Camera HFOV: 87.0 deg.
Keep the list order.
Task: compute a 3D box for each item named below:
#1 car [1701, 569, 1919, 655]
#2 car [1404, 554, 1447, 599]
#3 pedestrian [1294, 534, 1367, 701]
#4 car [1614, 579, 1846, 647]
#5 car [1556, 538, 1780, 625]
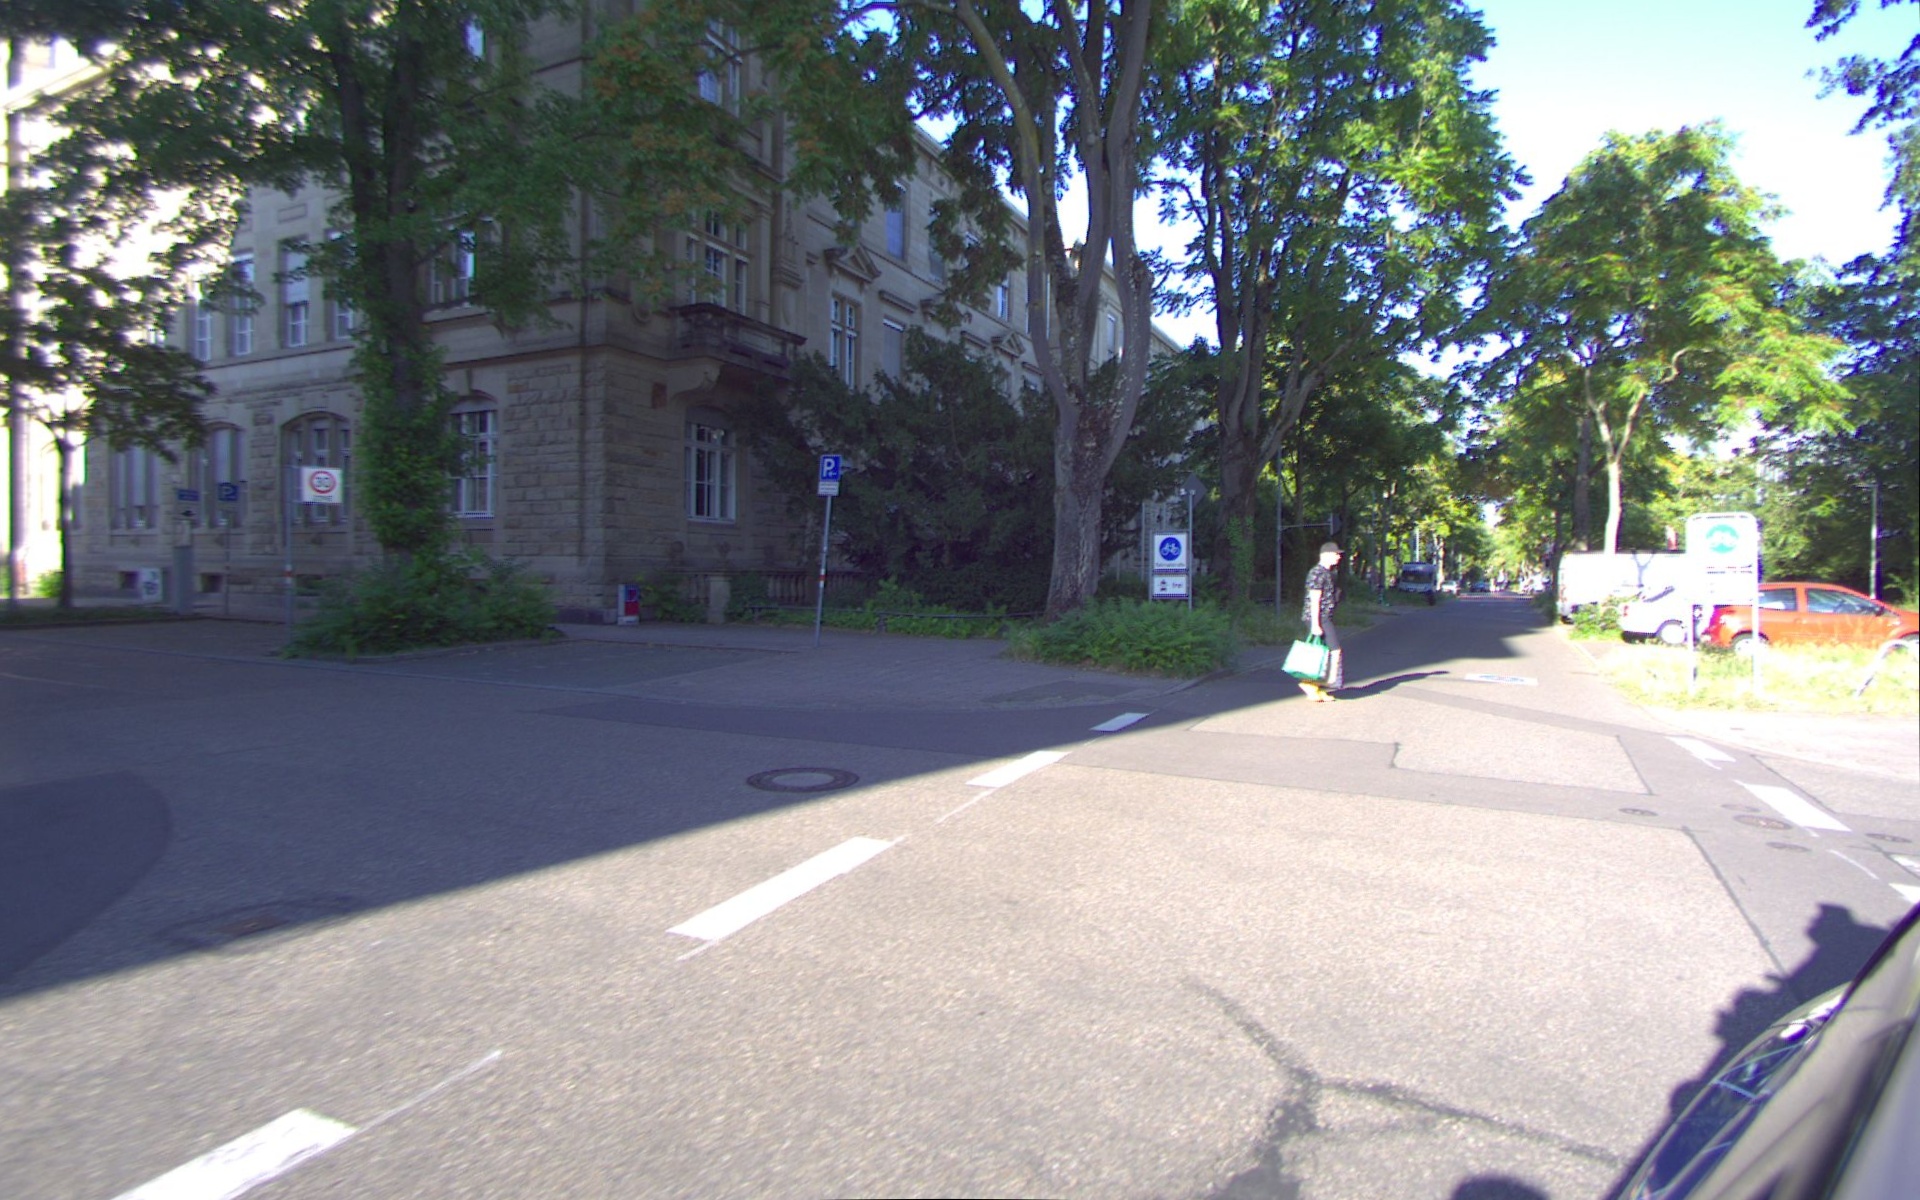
[{"bbox_3d":[15.940,0.174,18.432,3.643,1.437,1.703,1,2,27],"label":"car"},{"bbox_3d":[28.291,-1.410,61.484,1.937,2.631,4.121,1,2,31],"label":"car"},{"bbox_3d":[4.439,0.184,12.178,0.603,1.942,0.722,1,2,4],"label":"pedestrian"},{"bbox_3d":[17.841,0.243,23.712,4.019,1.437,1.703,1,2,27],"label":"car"},{"bbox_3d":[23.638,-0.677,34.162,5.852,2.734,2.201,1,1,27],"label":"car"}]
